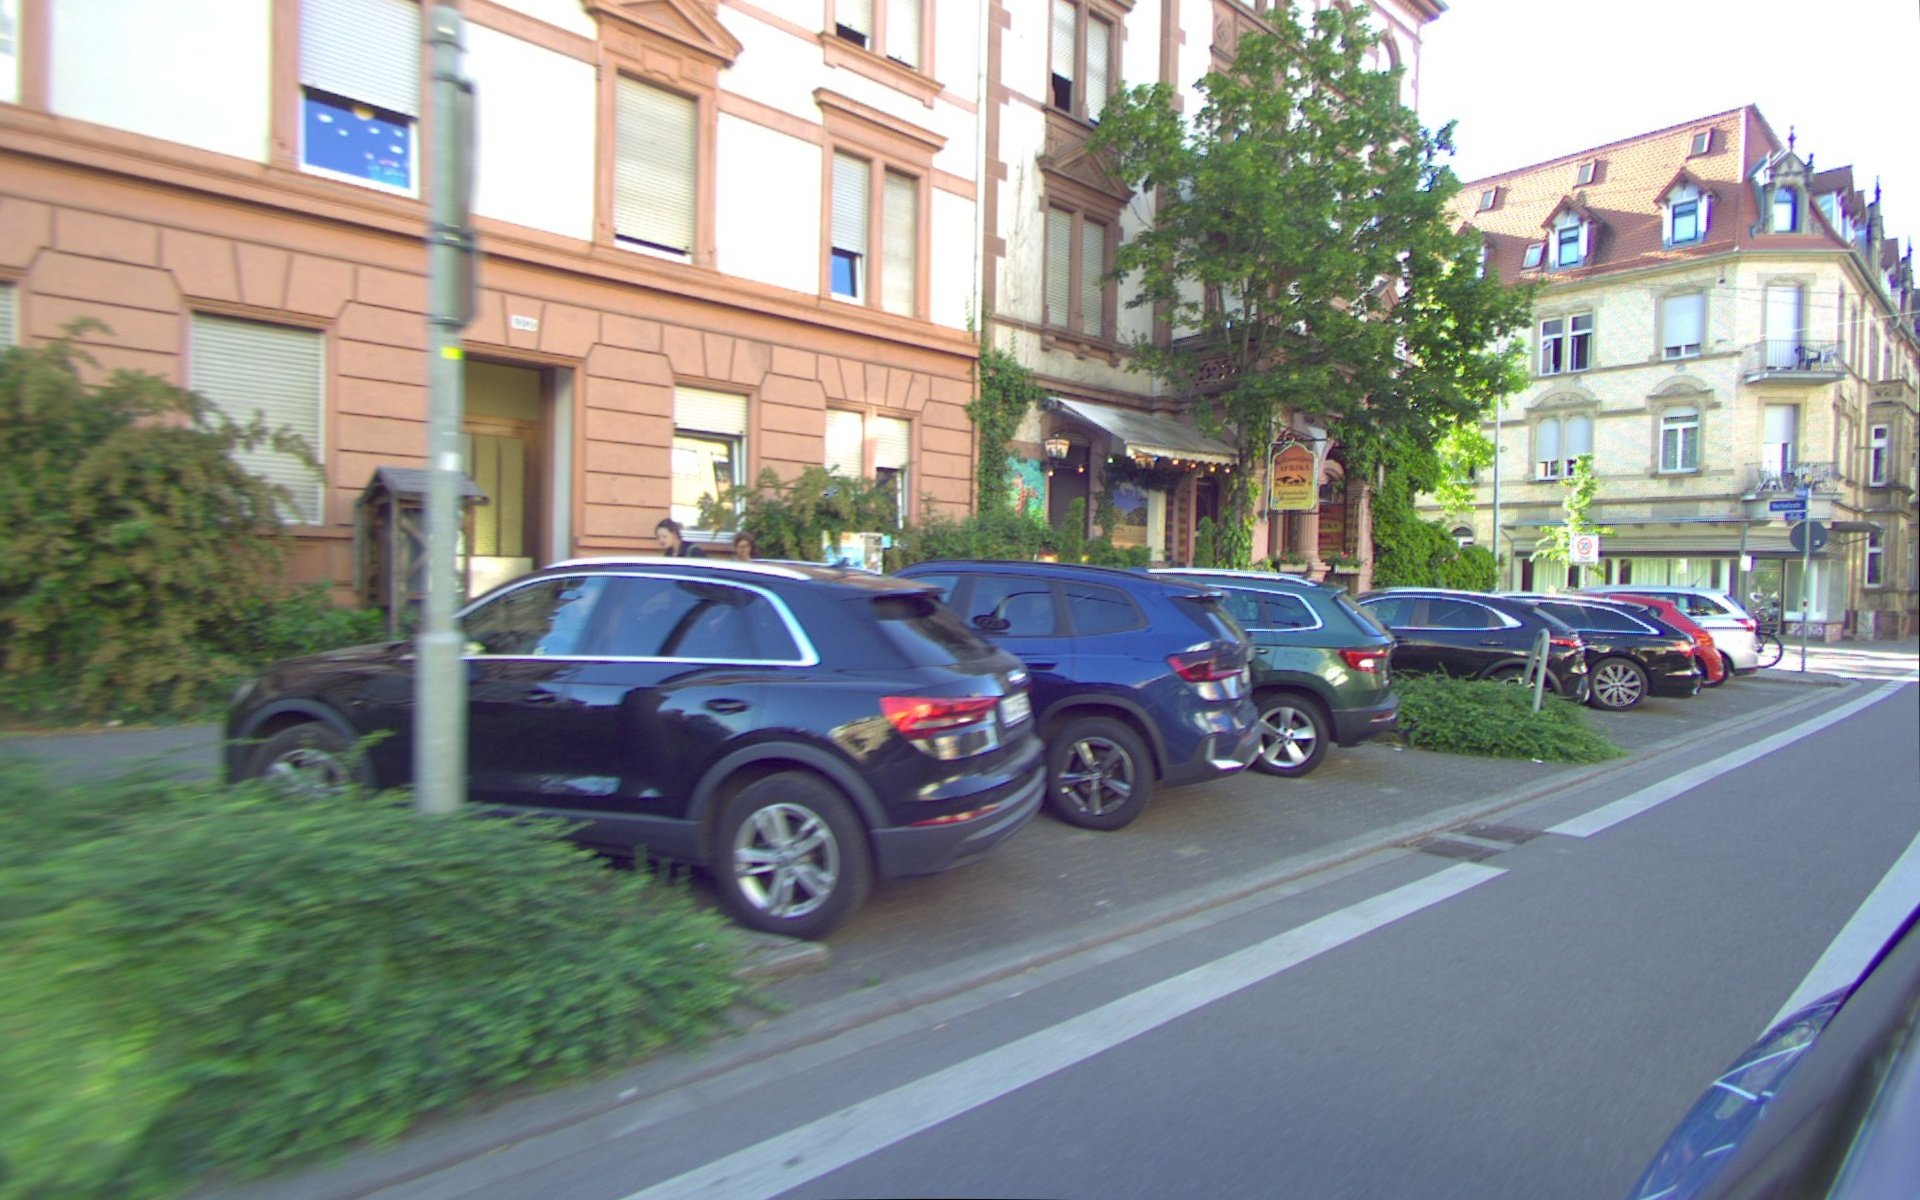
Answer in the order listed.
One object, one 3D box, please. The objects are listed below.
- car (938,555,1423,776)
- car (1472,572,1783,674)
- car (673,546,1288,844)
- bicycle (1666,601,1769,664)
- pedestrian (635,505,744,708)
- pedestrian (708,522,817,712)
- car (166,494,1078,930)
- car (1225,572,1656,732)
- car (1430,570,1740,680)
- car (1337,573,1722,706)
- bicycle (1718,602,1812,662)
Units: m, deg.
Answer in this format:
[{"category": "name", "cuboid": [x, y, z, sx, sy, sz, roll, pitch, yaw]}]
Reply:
[{"category": "car", "cuboid": [1.993, 0.440, 9.136, 3.958, 1.616, 1.943, 1, 1, 26]}, {"category": "car", "cuboid": [11.510, 0.327, 17.865, 4.320, 1.616, 1.837, 1, 1, 26]}, {"category": "car", "cuboid": [0.172, 0.474, 7.286, 3.958, 1.616, 2.070, 1, 1, 25]}, {"category": "bicycle", "cuboid": [14.563, 0.607, 19.491, 0.289, 1.141, 1.566, 0, 1, -34]}, {"category": "pedestrian", "cuboid": [-2.525, 0.053, 9.454, 0.848, 1.800, 0.519, 0, 1, -41]}, {"category": "pedestrian", "cuboid": [-1.822, 0.138, 9.345, 0.848, 1.669, 0.519, 0, 1, -41]}, {"category": "car", "cuboid": [-1.659, 0.375, 5.345, 4.259, 1.616, 1.972, 1, 1, 18]}, {"category": "car", "cuboid": [5.522, 0.479, 12.092, 4.287, 1.616, 2.028, 1, 1, 26]}, {"category": "car", "cuboid": [9.661, 0.313, 16.073, 3.958, 1.556, 1.902, 1, 1, 26]}, {"category": "car", "cuboid": [7.728, 0.443, 14.242, 4.403, 1.616, 2.071, 1, 1, 26]}, {"category": "bicycle", "cuboid": [16.339, 0.638, 20.560, 0.542, 1.141, 1.400, 0, 1, -40]}]
